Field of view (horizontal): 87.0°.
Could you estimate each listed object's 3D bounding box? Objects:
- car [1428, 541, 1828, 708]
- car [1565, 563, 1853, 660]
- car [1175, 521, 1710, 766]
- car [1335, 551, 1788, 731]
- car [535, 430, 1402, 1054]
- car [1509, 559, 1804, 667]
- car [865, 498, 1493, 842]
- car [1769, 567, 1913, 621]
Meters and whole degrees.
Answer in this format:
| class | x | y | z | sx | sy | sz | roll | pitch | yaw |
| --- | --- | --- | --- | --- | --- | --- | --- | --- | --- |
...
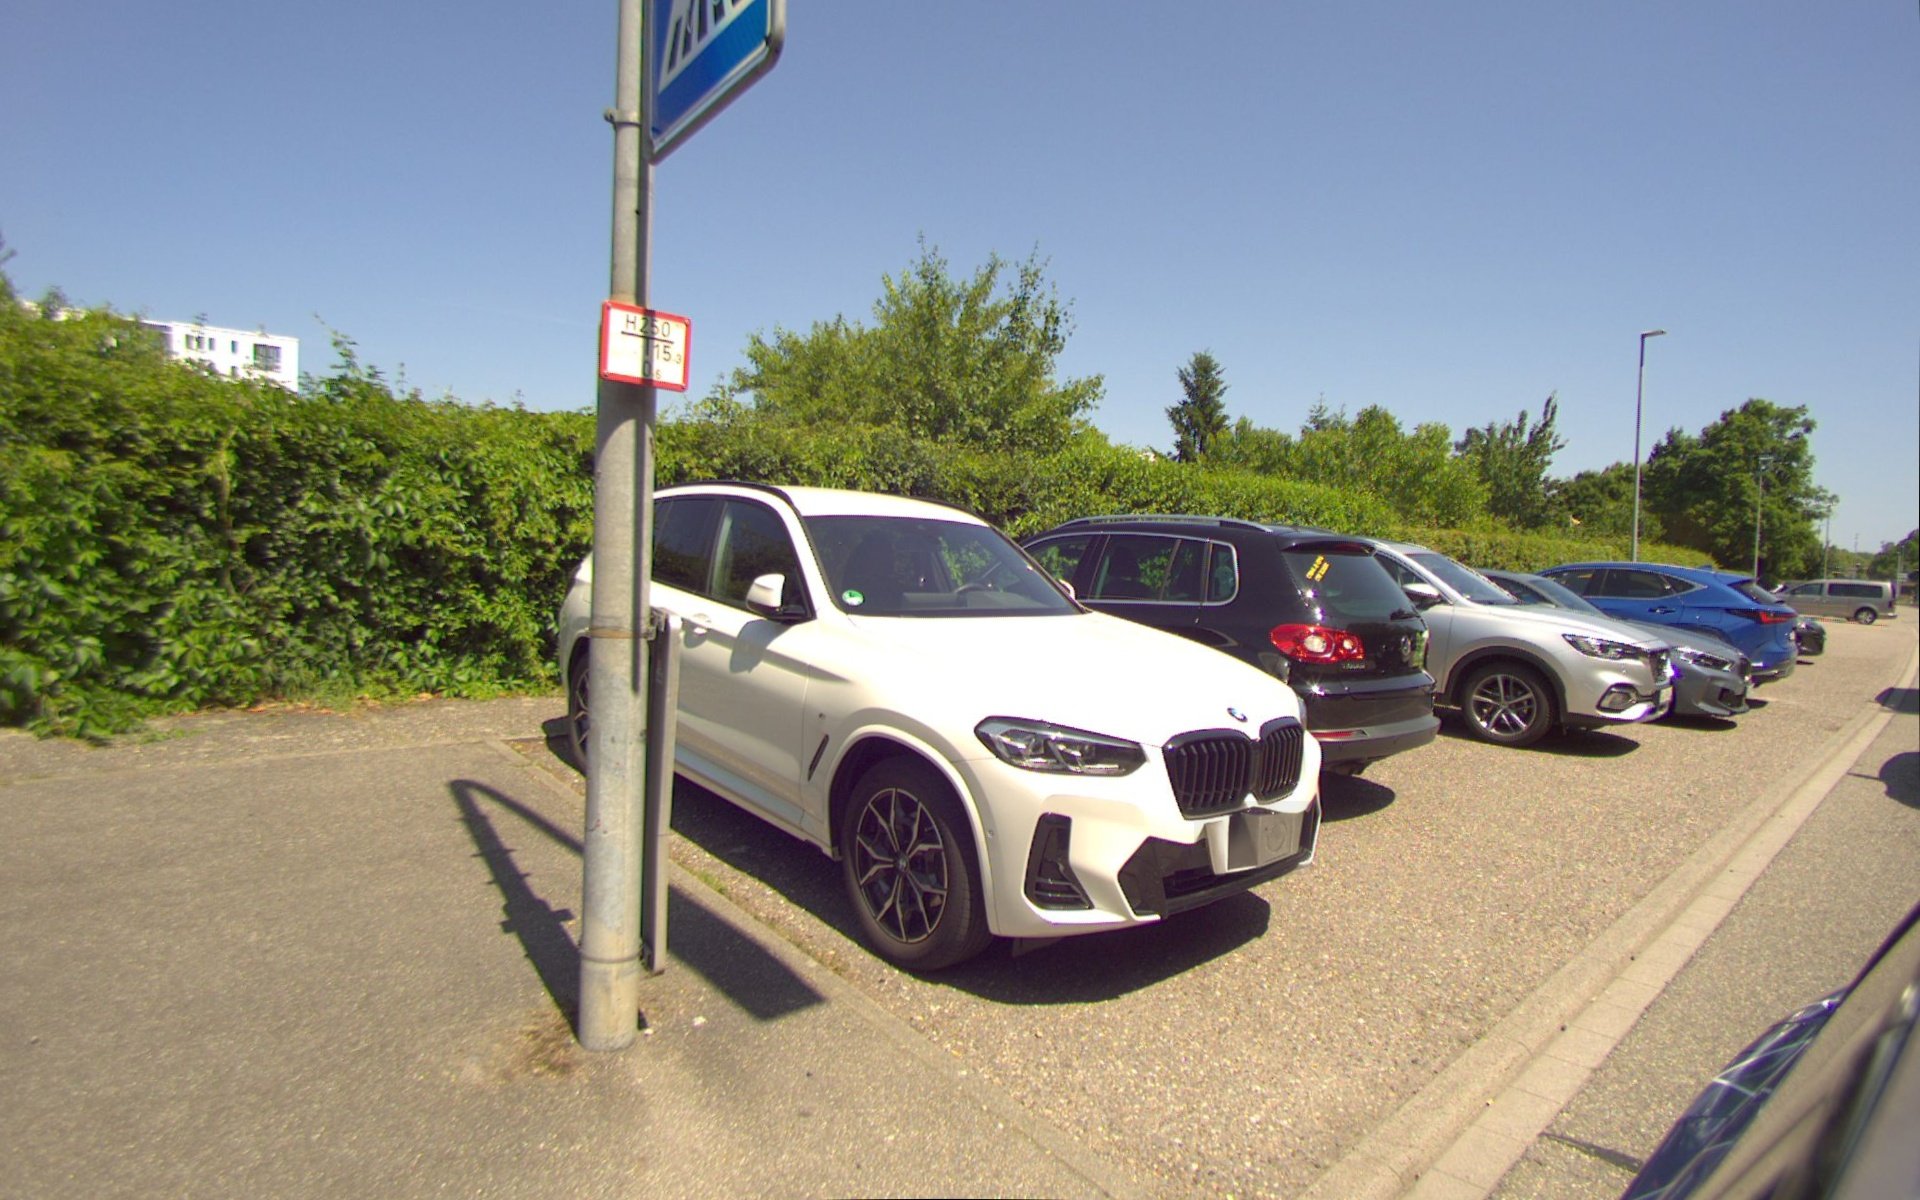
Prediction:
| class | x | y | z | sx | sy | sz | roll | pitch | yaw |
| --- | --- | --- | --- | --- | --- | --- | --- | --- | --- |
| car | 8.623 | 0.183 | 13.354 | 1.645 | 1.661 | 4.034 | 0 | 6 | -42 |
| car | 14.632 | 0.140 | 19.972 | 1.621 | 1.434 | 4.250 | 0 | 6 | -42 |
| car | 4.347 | 0.207 | 9.627 | 1.747 | 1.661 | 4.165 | -1 | 6 | -44 |
| car | 6.596 | 0.307 | 11.440 | 1.652 | 1.425 | 4.033 | 0 | 6 | -43 |
| car | -0.436 | 0.211 | 5.094 | 1.819 | 1.750 | 4.464 | -1 | 5 | -41 |
| car | 12.380 | 0.145 | 18.196 | 1.621 | 1.463 | 4.034 | 0 | 6 | -42 |
| car | 1.252 | 0.203 | 7.105 | 1.736 | 1.706 | 3.980 | 0 | 4 | -42 |
| car | 37.818 | -0.308 | 43.543 | 4.483 | 1.872 | 1.669 | 8 | 5 | 43 |
